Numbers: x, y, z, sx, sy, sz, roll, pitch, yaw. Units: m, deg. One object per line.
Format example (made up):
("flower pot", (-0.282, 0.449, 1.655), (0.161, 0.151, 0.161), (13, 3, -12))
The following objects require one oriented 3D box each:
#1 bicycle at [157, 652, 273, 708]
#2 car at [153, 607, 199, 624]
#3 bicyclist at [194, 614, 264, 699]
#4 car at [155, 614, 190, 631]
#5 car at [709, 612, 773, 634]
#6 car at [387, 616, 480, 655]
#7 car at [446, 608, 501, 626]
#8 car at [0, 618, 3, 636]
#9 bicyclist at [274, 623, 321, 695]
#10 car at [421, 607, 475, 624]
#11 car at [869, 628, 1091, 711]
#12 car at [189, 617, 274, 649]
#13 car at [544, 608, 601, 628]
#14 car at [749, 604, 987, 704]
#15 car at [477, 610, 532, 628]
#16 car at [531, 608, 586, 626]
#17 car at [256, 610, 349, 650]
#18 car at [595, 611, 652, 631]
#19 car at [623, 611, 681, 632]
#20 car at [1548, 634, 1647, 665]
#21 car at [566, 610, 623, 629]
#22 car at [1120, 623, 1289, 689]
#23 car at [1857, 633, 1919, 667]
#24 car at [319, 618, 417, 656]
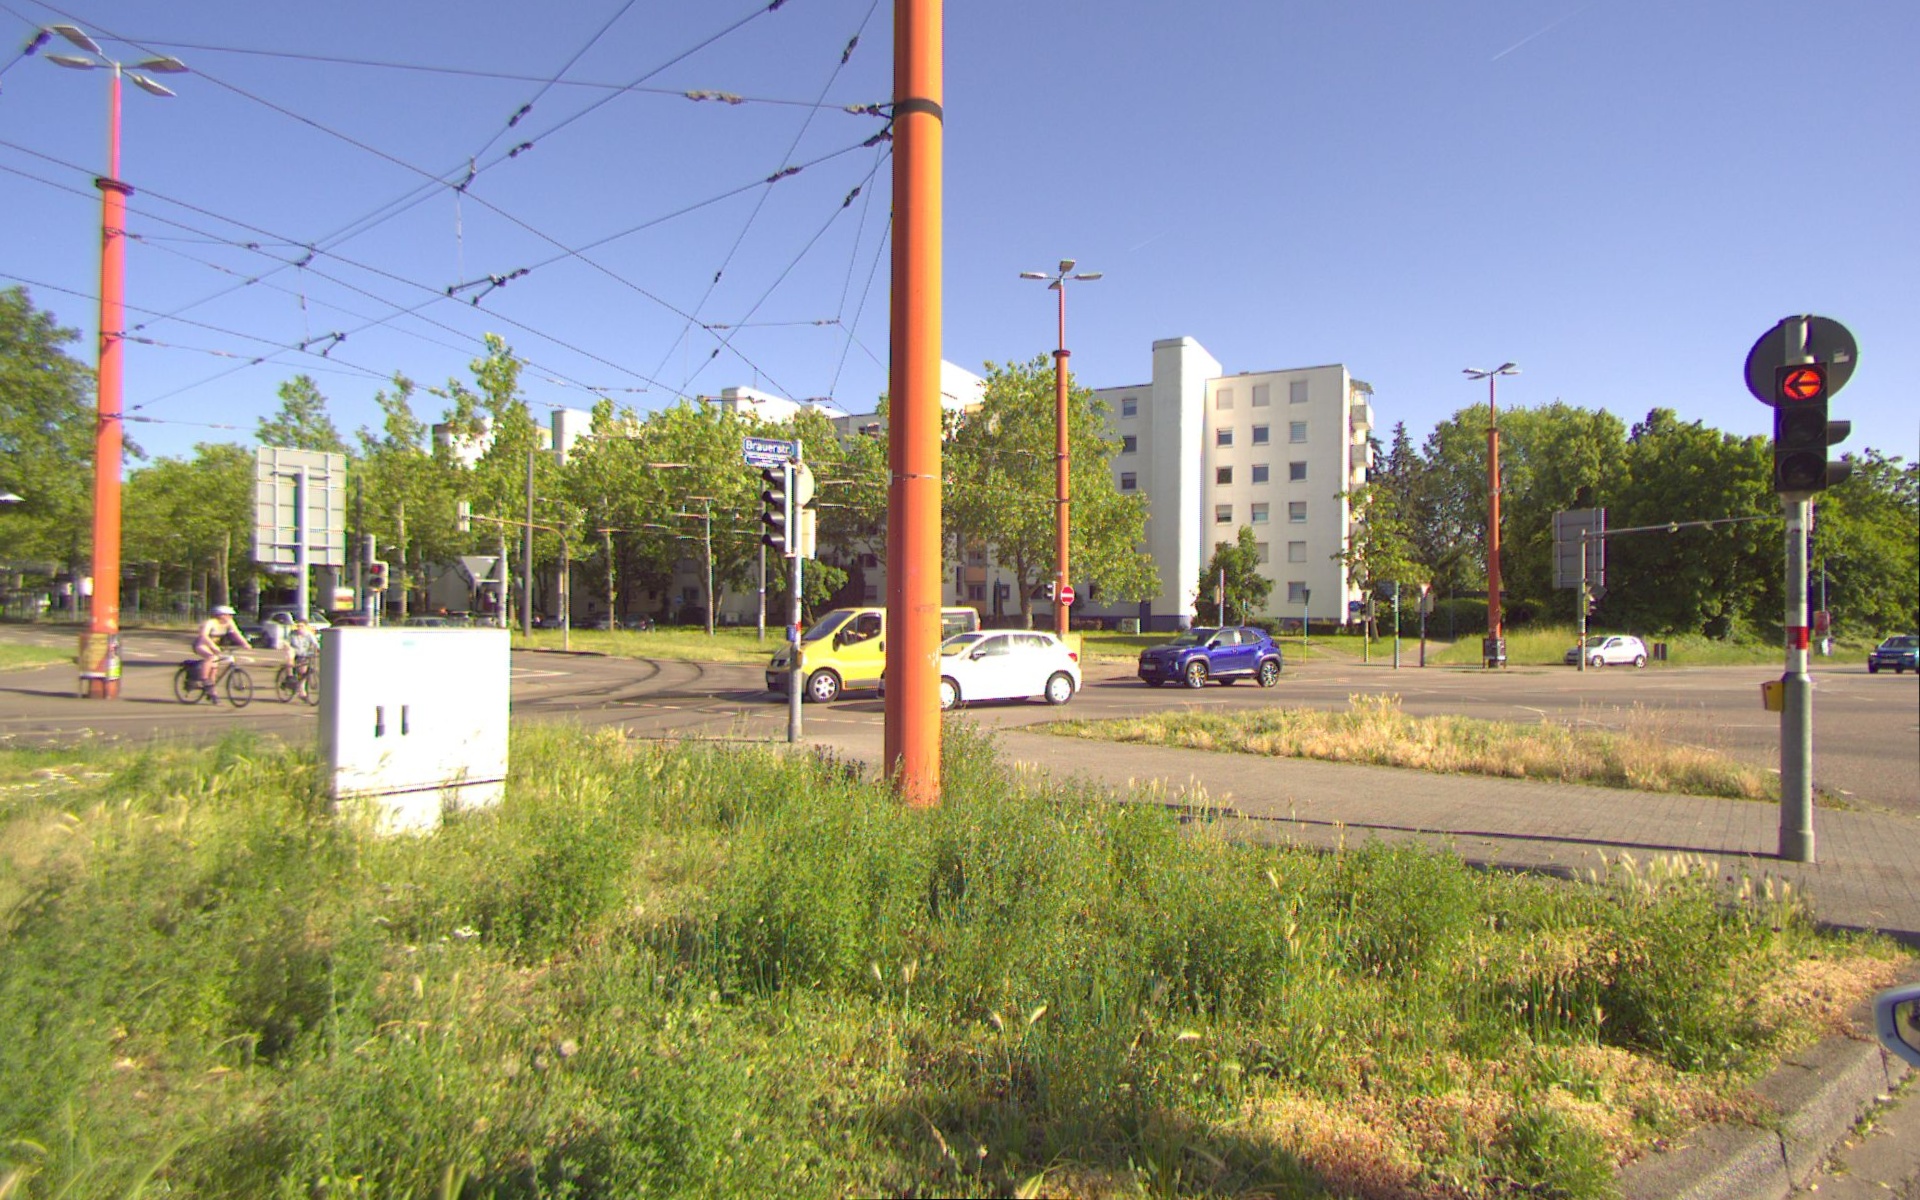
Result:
("bicycle", (-13.994, 1.495, 18.895), (1.613, 0.974, 0.685), (1, -1, -2))
("car", (-94.085, 1.862, 120.536), (1.969, 2.040, 3.984), (0, -1, 38))
("bicyclist", (-13.802, 1.064, 18.978), (0.752, 1.565, 0.732), (1, -1, -1))
("car", (-68.777, 1.958, 87.678), (3.332, 1.392, 1.531), (0, -1, 36))
("car", (-14.538, 1.543, 66.841), (1.770, 1.428, 3.987), (0, -1, 35))
("car", (-22.957, 1.519, 43.781), (4.191, 1.566, 1.852), (0, -1, 34))
("car", (-41.430, 1.474, 85.624), (3.935, 1.428, 1.794), (1, -1, -17))
("car", (-75.561, 2.073, 77.214), (4.286, 1.368, 1.762), (1, -1, 31))
("bicyclist", (-13.126, 1.166, 19.910), (0.616, 1.399, 0.443), (1, -1, -1))
("car", (-44.785, 1.375, 87.894), (3.935, 1.428, 1.794), (1, -1, -17))
("car", (0.416, 1.272, 19.214), (3.973, 1.425, 1.681), (1, -1, -30))
("car", (-34.609, 1.547, 47.717), (4.286, 1.368, 1.762), (0, -1, 31))
("car", (-30.072, 1.408, 78.074), (3.934, 1.428, 1.794), (1, -1, -16))
("car", (-1.976, 1.142, 22.091), (4.849, 1.992, 1.984), (1, -1, -30))
("car", (-38.027, 1.556, 83.883), (3.935, 1.428, 1.794), (1, -1, -17))
("car", (-31.933, 1.358, 79.971), (3.935, 1.428, 1.794), (1, -1, -17))
("car", (-28.895, 1.280, 44.129), (4.179, 1.658, 1.824), (0, -1, 32))
("car", (-24.992, 1.547, 74.695), (3.934, 1.428, 1.794), (1, -1, -16))
("car", (-22.251, 1.539, 72.645), (3.934, 1.428, 1.794), (1, -1, -16))
("car", (30.431, 2.340, 47.952), (3.931, 1.416, 1.752), (1, -1, -13))
("car", (-27.573, 1.476, 75.919), (3.934, 1.428, 1.794), (1, -1, -16))
("car", (6.385, 1.425, 26.169), (4.059, 1.595, 1.984), (2, -2, -30))
("car", (37.160, 1.961, 39.620), (3.571, 1.260, 1.730), (1, -1, -31))
("car", (-23.773, 1.463, 40.314), (3.994, 1.454, 1.682), (0, -1, 31))
